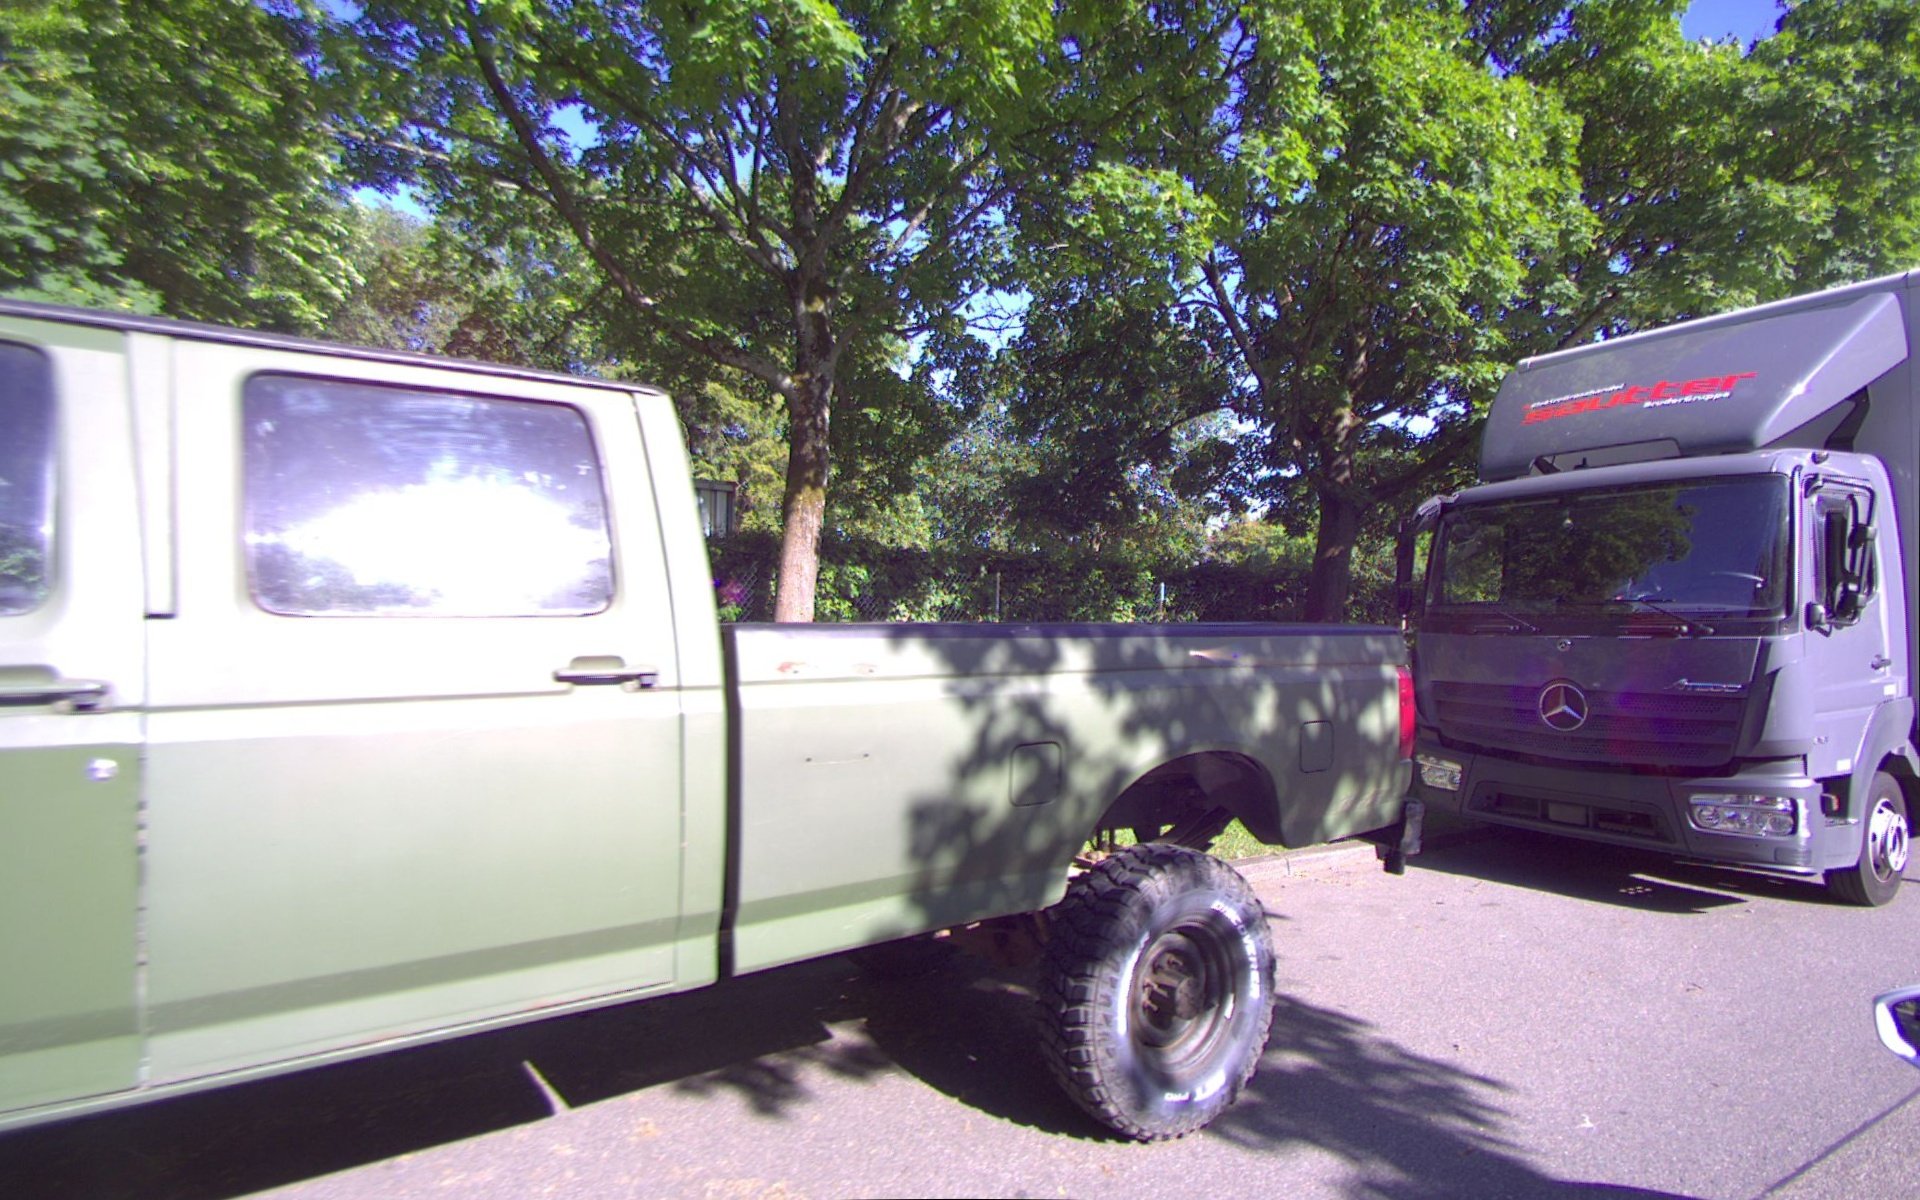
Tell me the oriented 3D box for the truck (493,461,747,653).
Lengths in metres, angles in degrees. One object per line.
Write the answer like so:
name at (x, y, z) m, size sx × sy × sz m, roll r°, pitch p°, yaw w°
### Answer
truck at (-4.520, -0.348, 12.994) m, size 2.181 × 2.040 × 3.964 m, roll 2°, pitch -3°, yaw -33°

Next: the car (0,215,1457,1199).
car at (-1.469, 0.523, 2.724) m, size 6.515 × 2.123 × 2.107 m, roll 2°, pitch -2°, yaw -34°

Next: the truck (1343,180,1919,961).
truck at (6.772, -0.027, 8.066) m, size 8.013 × 3.689 × 2.719 m, roll 2°, pitch -2°, yaw -33°
